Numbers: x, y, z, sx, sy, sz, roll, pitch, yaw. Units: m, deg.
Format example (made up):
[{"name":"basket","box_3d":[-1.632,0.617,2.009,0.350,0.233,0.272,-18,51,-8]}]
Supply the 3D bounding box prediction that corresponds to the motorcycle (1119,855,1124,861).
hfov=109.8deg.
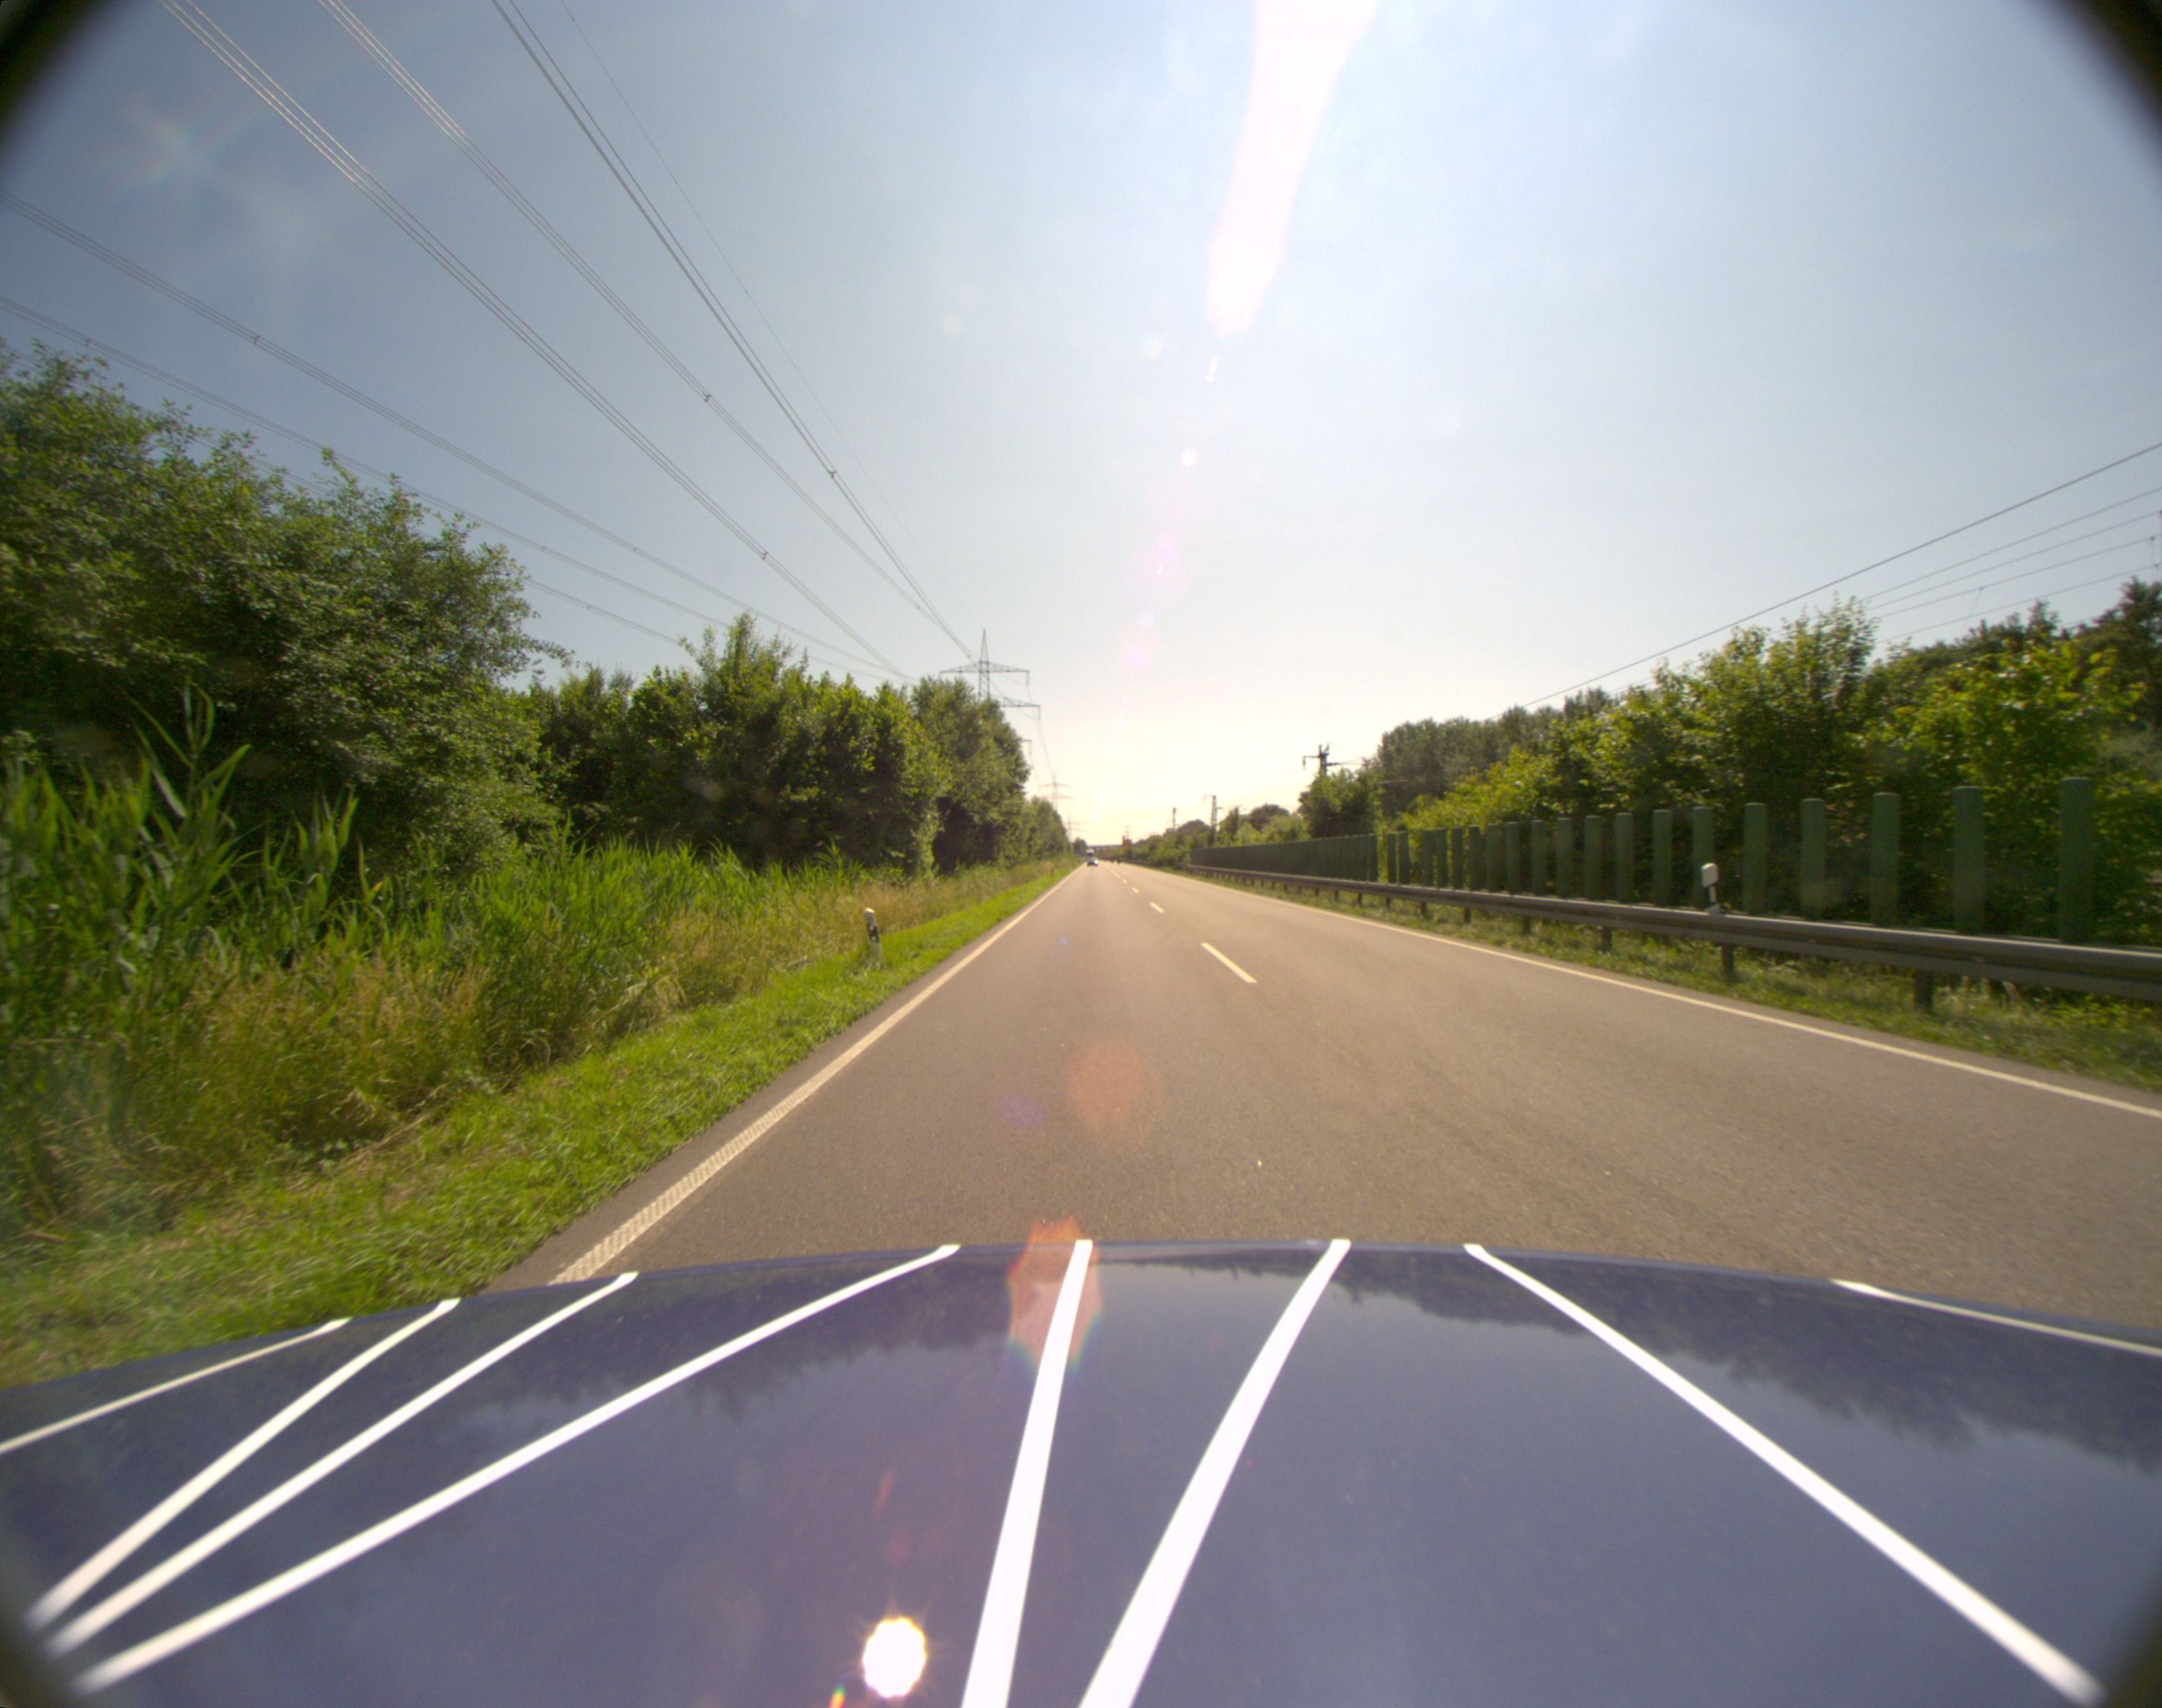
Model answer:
[{"name":"motorcycle","box_3d":[7.674,0.708,144.237,0.756,1.008,2.721,-3,1,3]}]

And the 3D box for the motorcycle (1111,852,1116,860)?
[{"name":"motorcycle","box_3d":[7.093,0.443,165.869,0.970,1.487,2.630,-3,1,3]}]

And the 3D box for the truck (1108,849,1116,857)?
[{"name":"truck","box_3d":[10.032,-0.379,246.137,2.085,2.631,5.704,-2,0,1]}]

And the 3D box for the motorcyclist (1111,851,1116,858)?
[{"name":"motorcyclist","box_3d":[7.093,0.135,166.187,0.961,1.600,1.003,-3,1,3]}]

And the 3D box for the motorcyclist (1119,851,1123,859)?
[{"name":"motorcyclist","box_3d":[7.550,0.213,144.291,0.760,1.574,1.003,-3,1,3]}]

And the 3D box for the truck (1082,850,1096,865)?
[{"name":"truck","box_3d":[2.733,1.158,257.707,4.219,4.608,21.303,-2,0,0]}]

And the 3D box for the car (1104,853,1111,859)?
[{"name":"car","box_3d":[7.936,0.488,228.140,1.819,1.684,4.706,-1,0,1]}]

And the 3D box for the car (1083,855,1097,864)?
[{"name":"car","box_3d":[1.390,0.819,118.529,1.998,1.346,4.157,-3,0,0]}]

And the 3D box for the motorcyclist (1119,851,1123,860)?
[{"name":"motorcyclist","box_3d":[7.511,0.237,143.339,0.751,1.574,0.864,-3,1,3]}]
